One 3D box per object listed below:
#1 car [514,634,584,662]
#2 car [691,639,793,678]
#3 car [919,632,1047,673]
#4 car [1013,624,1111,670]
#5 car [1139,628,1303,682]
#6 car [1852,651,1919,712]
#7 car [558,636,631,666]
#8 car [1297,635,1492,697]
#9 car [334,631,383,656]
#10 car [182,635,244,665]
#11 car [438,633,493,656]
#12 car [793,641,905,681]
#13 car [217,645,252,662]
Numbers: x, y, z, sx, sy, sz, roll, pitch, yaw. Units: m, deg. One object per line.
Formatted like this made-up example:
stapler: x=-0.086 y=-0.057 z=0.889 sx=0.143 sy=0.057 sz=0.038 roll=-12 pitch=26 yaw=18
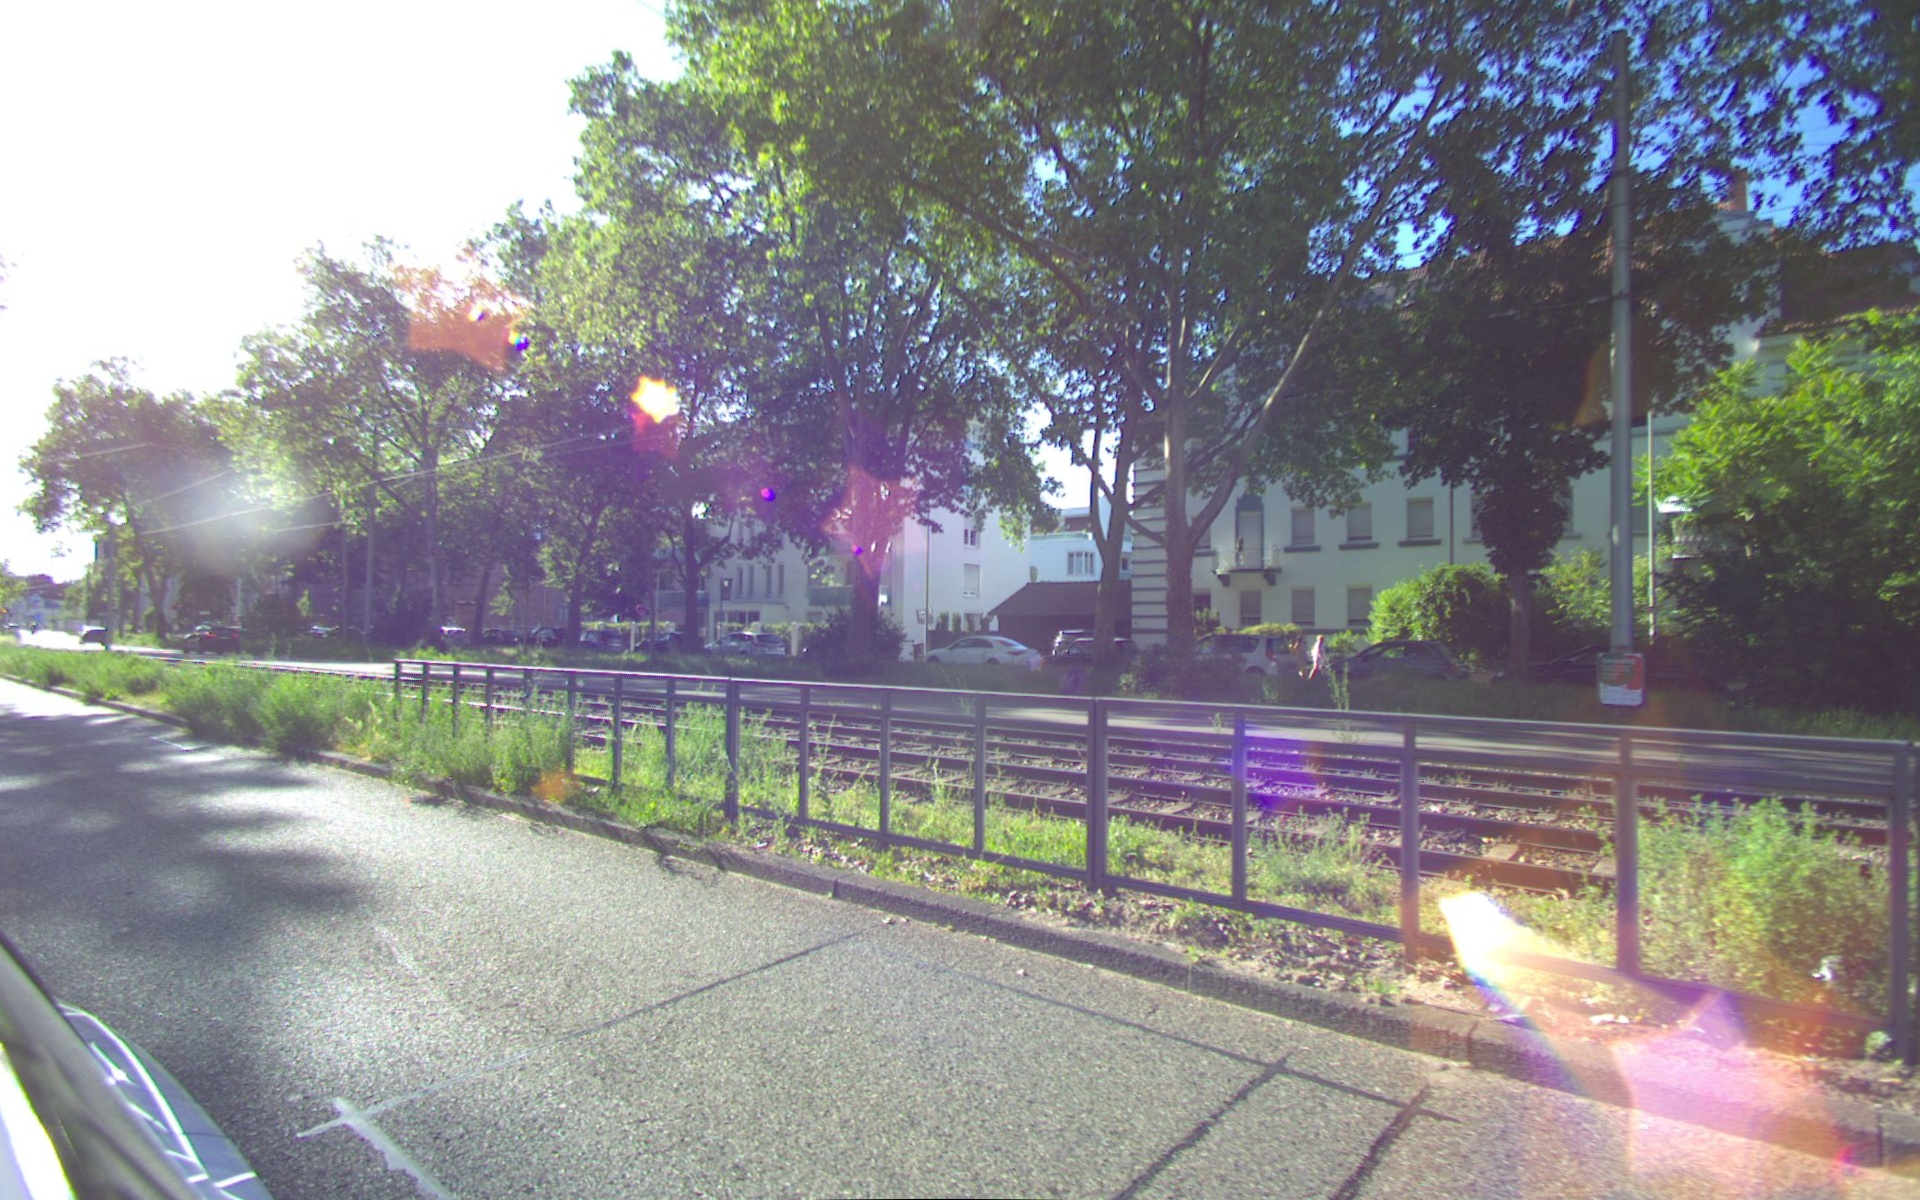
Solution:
car: x=-22.427 y=2.594 z=55.216 sx=3.998 sy=1.497 sz=1.972 roll=-2 pitch=-3 yaw=41
car: x=-9.547 y=2.521 z=44.148 sx=4.653 sy=1.603 sz=1.972 roll=-2 pitch=-3 yaw=41
car: x=0.747 y=1.821 z=35.139 sx=4.458 sy=1.334 sz=1.623 roll=-2 pitch=-5 yaw=41
car: x=4.346 y=2.018 z=43.392 sx=3.818 sy=1.874 sz=1.830 roll=-2 pitch=-3 yaw=40
car: x=7.492 y=1.547 z=29.344 sx=4.316 sy=1.451 sz=1.717 roll=-2 pitch=-3 yaw=41
car: x=19.186 y=1.555 z=19.234 sx=3.213 sy=1.125 sz=1.458 roll=-2 pitch=-3 yaw=38
car: x=-18.786 y=2.582 z=51.966 sx=3.998 sy=1.484 sz=1.778 roll=-2 pitch=-3 yaw=41
car: x=11.166 y=1.644 z=26.180 sx=4.317 sy=1.452 sz=1.766 roll=-2 pitch=-3 yaw=42
car: x=-44.612 y=3.216 z=75.060 sx=3.998 sy=1.863 sz=1.972 roll=-2 pitch=-3 yaw=41
car: x=-43.035 y=2.827 z=58.268 sx=4.456 sy=1.660 sz=1.839 roll=-2 pitch=-3 yaw=39
car: x=-33.898 y=3.042 z=69.358 sx=3.998 sy=1.497 sz=1.972 roll=-2 pitch=-3 yaw=41
car: x=-4.384 y=2.331 z=39.683 sx=4.316 sy=1.464 sz=1.972 roll=-2 pitch=-3 yaw=41
car: x=-64.936 y=4.760 z=90.615 sx=3.686 sy=1.497 sz=1.748 roll=-2 pitch=-3 yaw=41
